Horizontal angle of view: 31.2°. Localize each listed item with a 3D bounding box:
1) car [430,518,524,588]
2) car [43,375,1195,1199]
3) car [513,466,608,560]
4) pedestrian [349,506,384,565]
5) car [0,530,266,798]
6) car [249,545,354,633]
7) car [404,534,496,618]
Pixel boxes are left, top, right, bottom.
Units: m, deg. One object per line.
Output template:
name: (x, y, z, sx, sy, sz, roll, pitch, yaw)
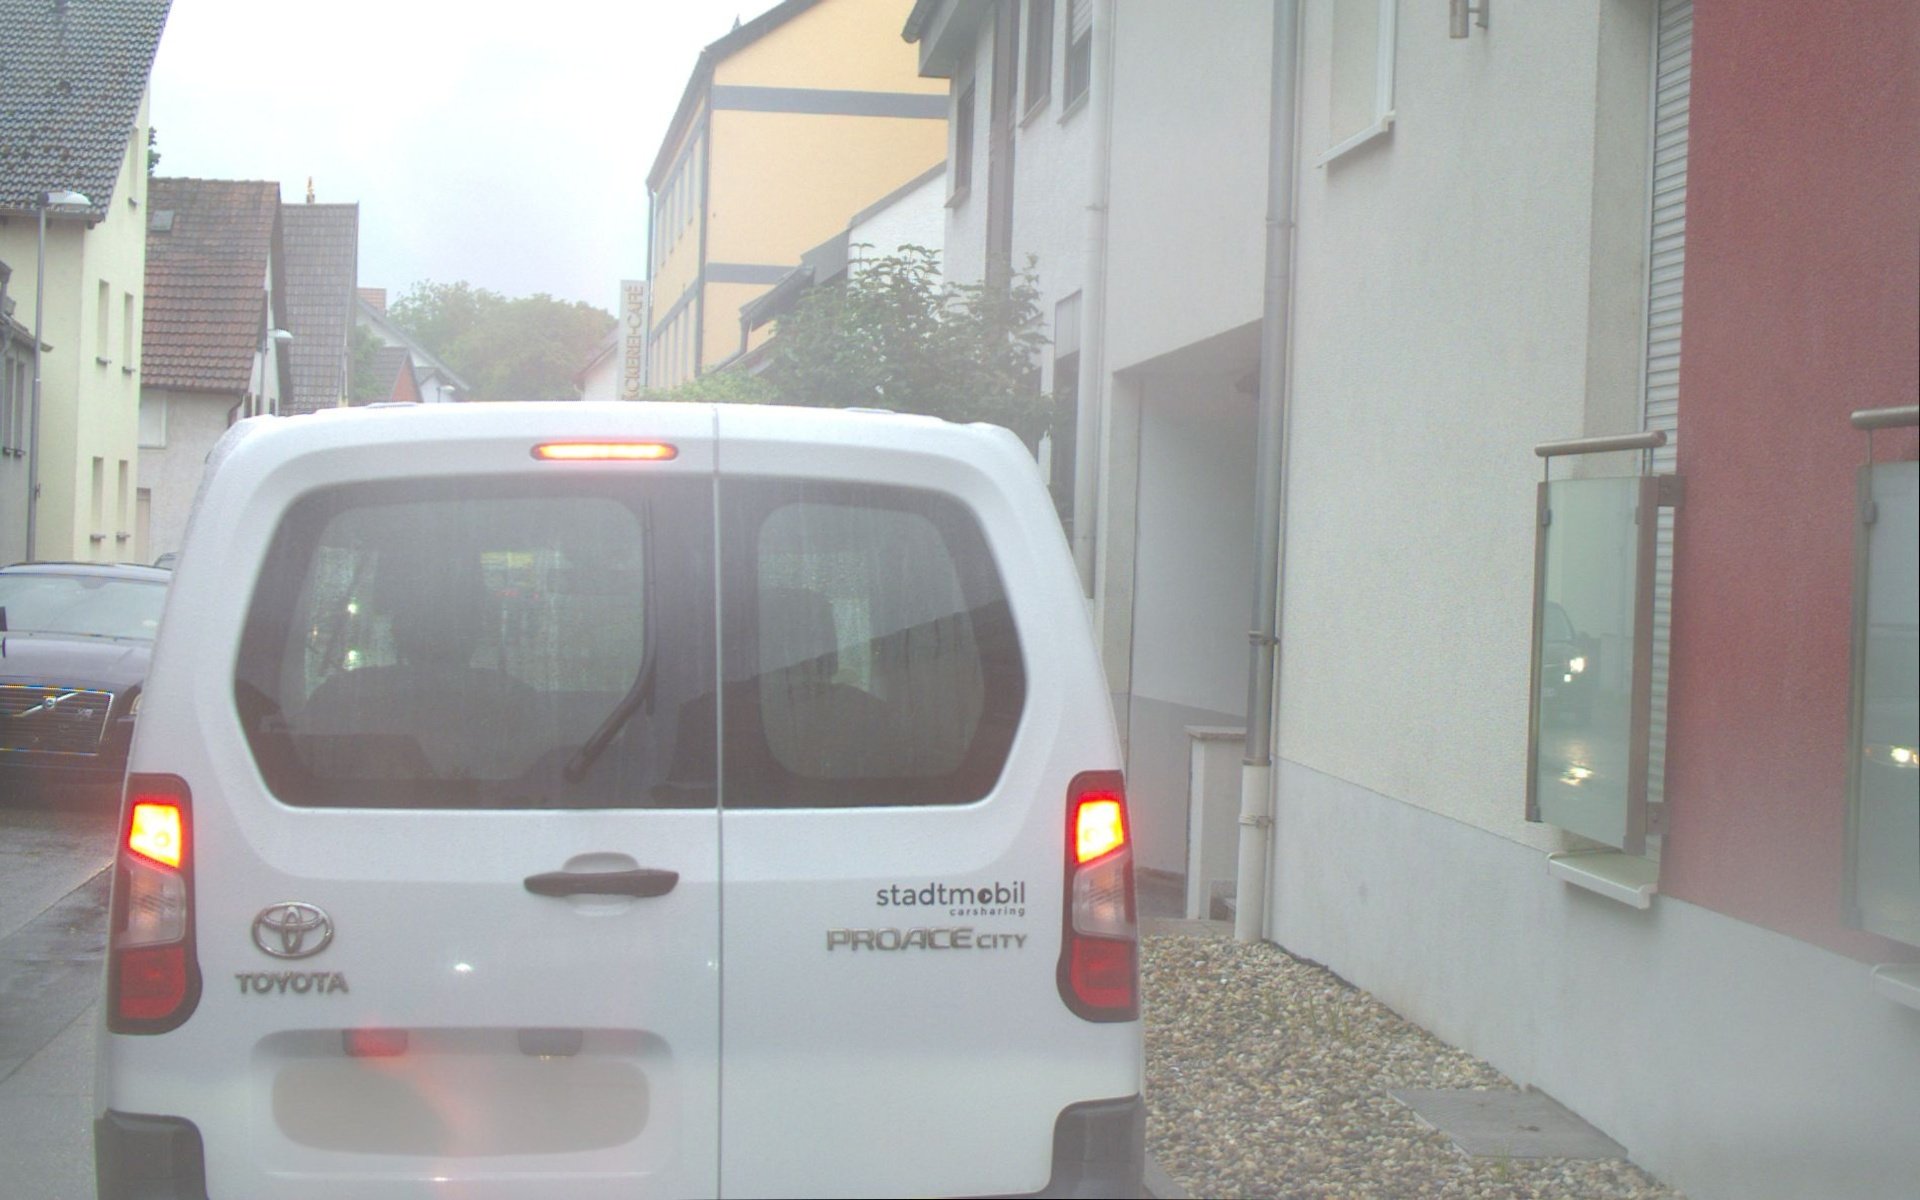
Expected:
car: (-9.951, -0.963, 70.647, 1.779, 1.390, 4.001, 1, 1, -10)
car: (-0.825, 0.532, 7.344, 1.774, 1.774, 4.001, 1, 1, -9)
car: (-8.853, -1.907, 76.379, 1.993, 2.007, 4.001, 1, 1, -6)
pedestrian: (-19.088, -2.062, 110.553, 1.050, 1.886, 0.877, 1, 0, -9)
car: (-5.461, 0.331, 21.785, 1.695, 1.504, 4.342, 2, 1, -7)
car: (-12.469, -0.239, 65.315, 1.832, 1.550, 4.241, 2, 0, -10)
car: (-9.371, -0.445, 63.025, 1.560, 1.472, 4.001, 1, 1, -10)
